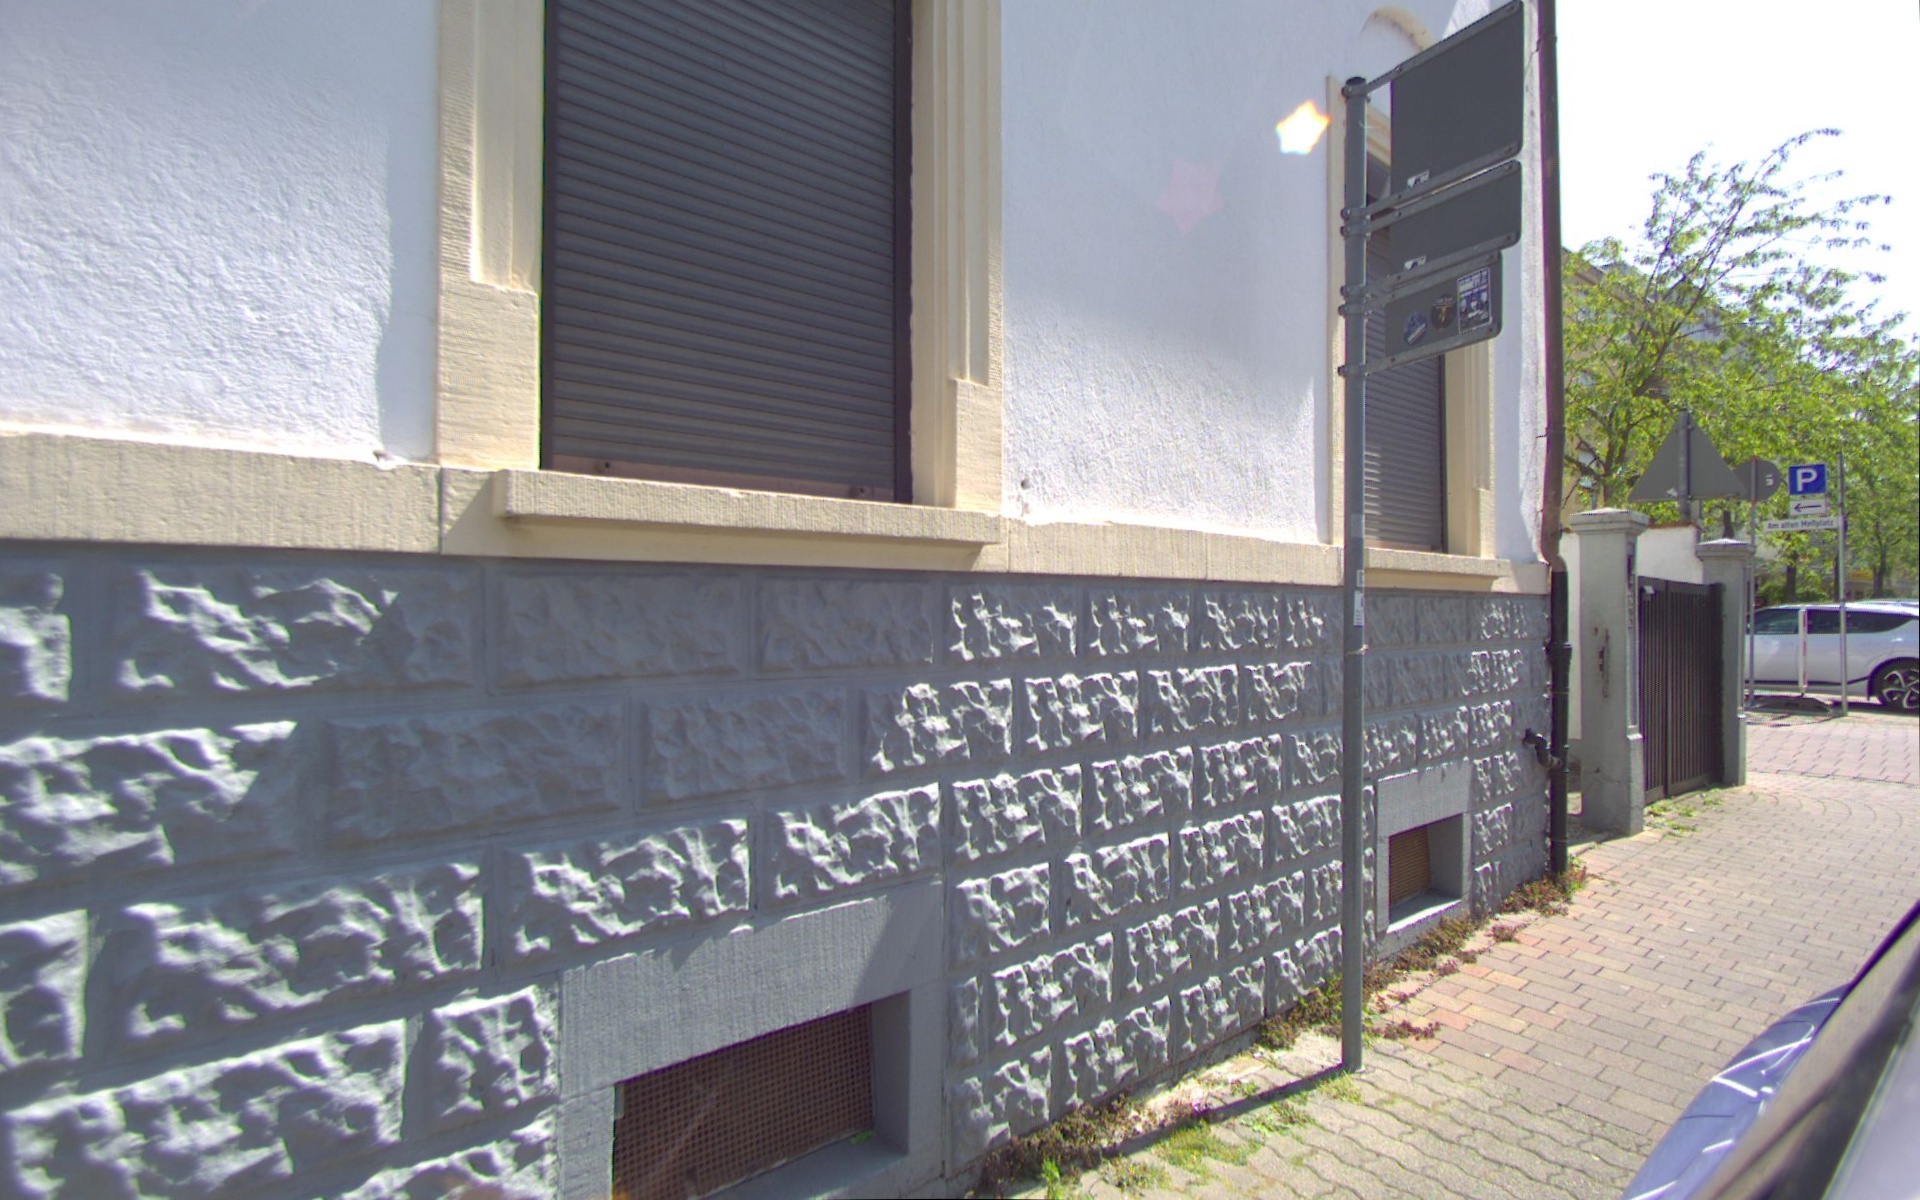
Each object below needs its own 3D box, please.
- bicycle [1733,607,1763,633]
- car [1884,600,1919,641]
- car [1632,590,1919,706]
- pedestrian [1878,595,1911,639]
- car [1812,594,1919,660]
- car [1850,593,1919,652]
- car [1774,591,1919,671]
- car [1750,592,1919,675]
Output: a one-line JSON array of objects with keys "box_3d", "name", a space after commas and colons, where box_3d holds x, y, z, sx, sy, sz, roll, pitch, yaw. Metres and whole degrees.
[{"box_3d": [34.894, 0.888, 44.799, 1.833, 1.095, 0.642, 0, -2, -41], "name": "bicycle"}, {"box_3d": [36.138, 0.769, 36.105, 4.353, 1.482, 1.869, 1, 0, 32], "name": "car"}, {"box_3d": [13.278, 0.672, 15.689, 1.757, 1.596, 4.450, 1, 0, -39], "name": "car"}, {"box_3d": [37.556, 0.671, 40.674, 0.635, 1.753, 0.616, -1, -2, -6], "name": "pedestrian"}, {"box_3d": [24.696, 0.692, 25.622, 1.816, 1.608, 4.520, 1, 0, -38], "name": "car"}, {"box_3d": [28.170, 0.657, 28.839, 1.652, 1.632, 4.034, 0, 1, -41], "name": "car"}, {"box_3d": [20.847, 0.661, 22.321, 1.966, 1.702, 4.285, 1, 0, -42], "name": "car"}, {"box_3d": [18.748, 0.660, 20.580, 1.792, 1.553, 3.951, 0, 1, -41], "name": "car"}]
